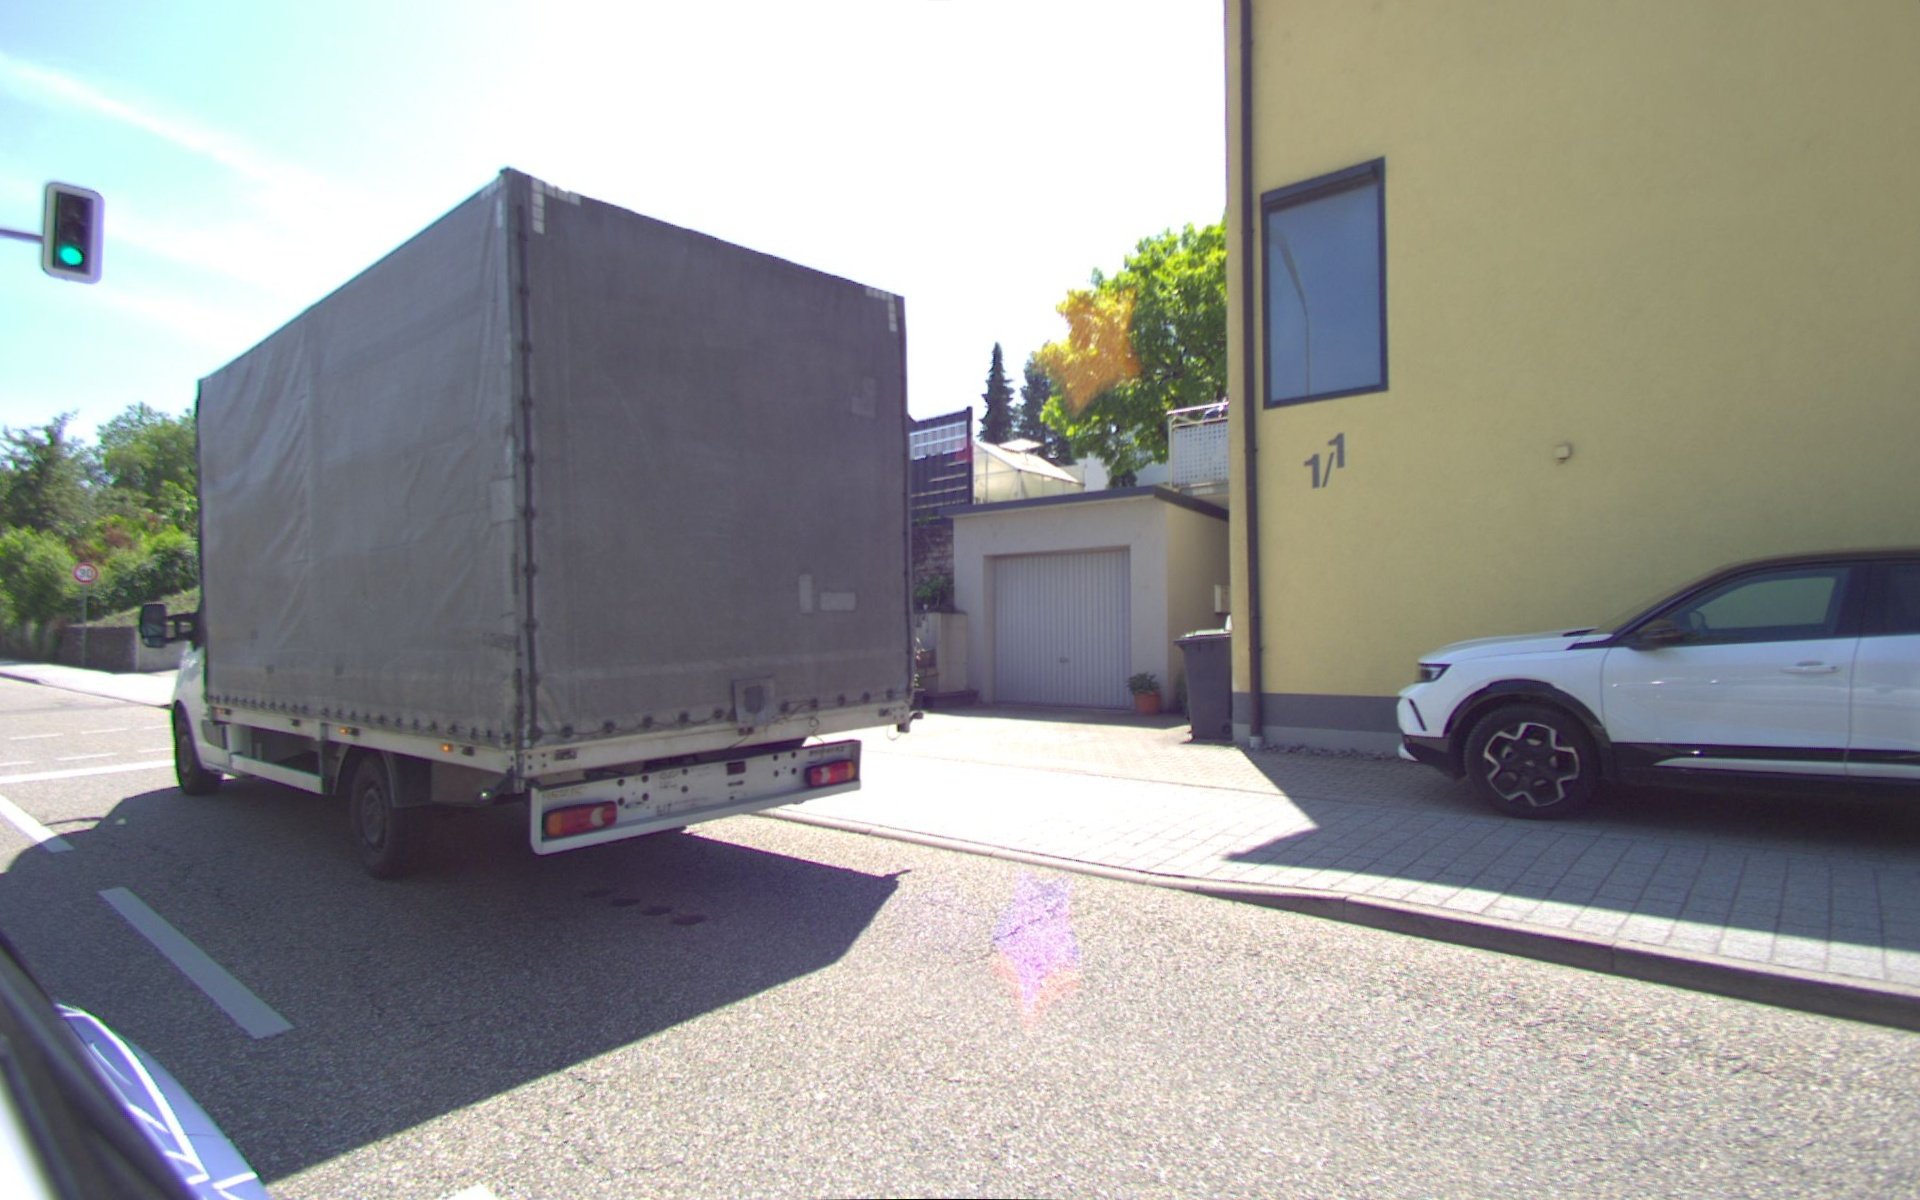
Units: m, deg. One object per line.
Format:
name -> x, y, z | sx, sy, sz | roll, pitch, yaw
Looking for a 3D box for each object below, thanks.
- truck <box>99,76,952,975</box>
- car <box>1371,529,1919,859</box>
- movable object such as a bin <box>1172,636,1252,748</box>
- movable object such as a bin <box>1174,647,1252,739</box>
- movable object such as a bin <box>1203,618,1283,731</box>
truck -> -3.760, -0.225, 7.237 | 7.611, 3.393, 2.441 | -2, 0, 41
car -> 4.771, 0.466, 5.742 | 4.186, 1.564, 1.712 | -2, -2, 41
movable object such as a bin -> 2.480, 0.883, 9.971 | 0.607, 1.051, 0.495 | -2, -2, 39
movable object such as a bin -> 2.662, 0.959, 10.653 | 0.607, 0.917, 0.591 | -2, -3, 39
movable object such as a bin -> 3.139, 0.801, 11.231 | 0.694, 1.205, 0.546 | -2, -2, 39
